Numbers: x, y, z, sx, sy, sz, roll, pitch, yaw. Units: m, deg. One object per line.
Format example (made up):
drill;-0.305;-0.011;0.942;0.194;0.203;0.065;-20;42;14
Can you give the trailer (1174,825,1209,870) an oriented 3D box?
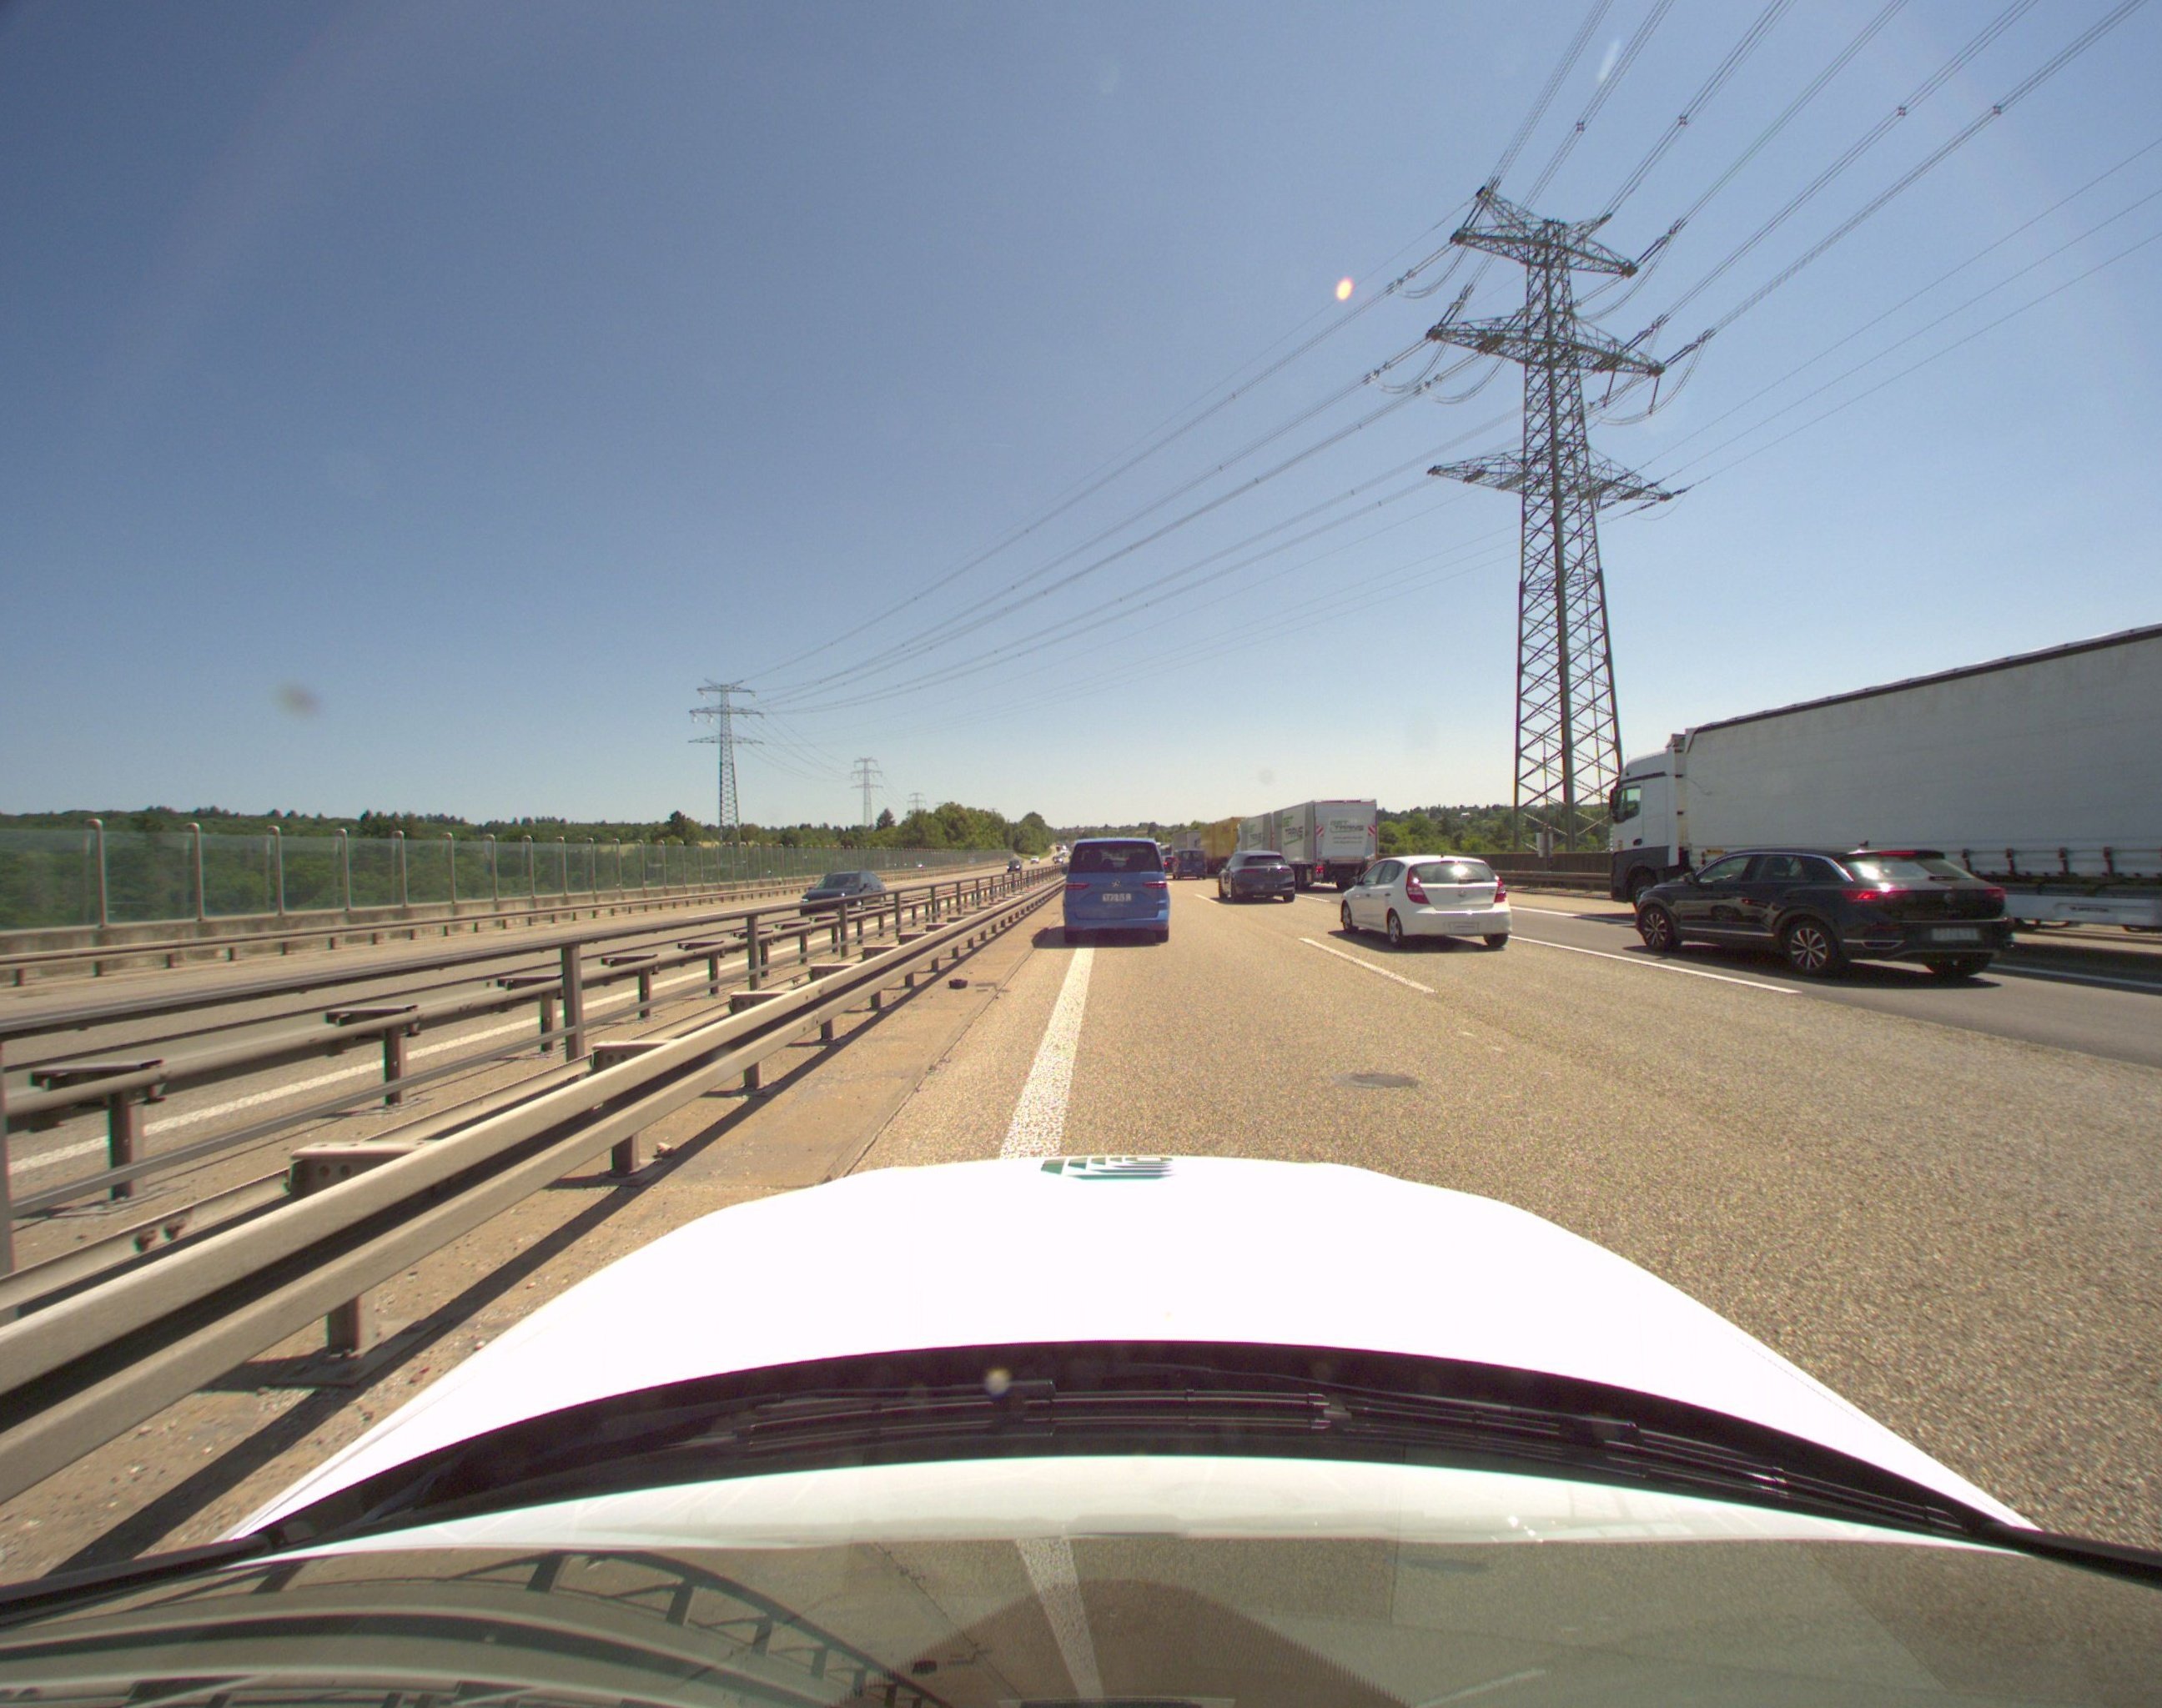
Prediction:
trailer;11.806;-0.629;87.974;2.627;4.516;11.305;0;0;2

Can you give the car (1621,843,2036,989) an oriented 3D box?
car;9.204;0.672;10.608;1.729;1.527;4.108;0;-1;2

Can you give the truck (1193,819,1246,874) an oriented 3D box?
truck;11.431;-0.511;68.399;2.826;4.243;11.013;0;0;1

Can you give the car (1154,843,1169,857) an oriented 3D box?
car;12.189;-0.643;123.657;1.986;2.013;4.463;-2;0;2

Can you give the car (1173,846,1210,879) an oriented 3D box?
car;7.174;0.540;53.382;1.954;1.993;4.294;-1;0;2

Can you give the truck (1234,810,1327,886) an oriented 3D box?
truck;10.761;-0.255;45.259;2.647;3.648;11.013;-1;0;1

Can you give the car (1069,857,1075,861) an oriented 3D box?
car;-2.900;1.568;259.252;1.592;1.318;4.342;-3;0;1

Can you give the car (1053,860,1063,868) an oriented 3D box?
car;-4.851;2.044;172.279;1.799;1.627;4.479;0;0;1

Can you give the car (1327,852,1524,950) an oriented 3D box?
car;5.865;0.721;14.484;1.782;1.455;4.294;-1;0;2

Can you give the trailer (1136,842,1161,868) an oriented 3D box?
trailer;8.151;0.182;99.289;2.559;2.990;10.667;0;-1;2

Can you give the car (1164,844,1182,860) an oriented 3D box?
car;11.945;-0.177;105.672;1.986;2.014;4.002;0;-1;2

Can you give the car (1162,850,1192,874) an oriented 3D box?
car;7.559;0.637;64.540;1.986;1.816;4.002;-1;0;2

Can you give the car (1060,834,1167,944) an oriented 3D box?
car;0.622;0.605;15.835;1.813;1.857;4.076;0;-1;2

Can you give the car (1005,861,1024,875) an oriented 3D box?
car;-8.864;1.855;108.423;1.987;1.672;4.187;-4;-1;1

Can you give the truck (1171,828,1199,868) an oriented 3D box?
truck;12.055;-0.648;95.110;2.657;4.484;6.852;0;-1;2

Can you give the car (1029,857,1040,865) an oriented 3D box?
car;-11.289;1.678;198.652;1.986;1.885;5.257;-4;0;1

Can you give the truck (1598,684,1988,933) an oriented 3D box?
truck;13.816;-0.731;16.656;2.682;4.142;6.161;0;-1;2

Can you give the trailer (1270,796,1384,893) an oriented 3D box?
trailer;10.495;-0.360;35.739;2.688;3.700;8.016;-1;0;1

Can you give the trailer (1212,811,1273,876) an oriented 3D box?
trailer;11.386;-0.645;58.381;2.854;4.239;9.014;0;-1;2

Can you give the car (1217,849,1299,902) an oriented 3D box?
car;5.904;0.687;27.692;1.954;1.645;4.294;-1;0;2

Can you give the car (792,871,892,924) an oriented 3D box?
car;-7.590;1.333;26.287;1.761;1.419;4.268;-3;0;2

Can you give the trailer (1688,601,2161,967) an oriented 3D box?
trailer;13.606;-0.798;9.957;2.704;4.142;13.430;0;0;2
